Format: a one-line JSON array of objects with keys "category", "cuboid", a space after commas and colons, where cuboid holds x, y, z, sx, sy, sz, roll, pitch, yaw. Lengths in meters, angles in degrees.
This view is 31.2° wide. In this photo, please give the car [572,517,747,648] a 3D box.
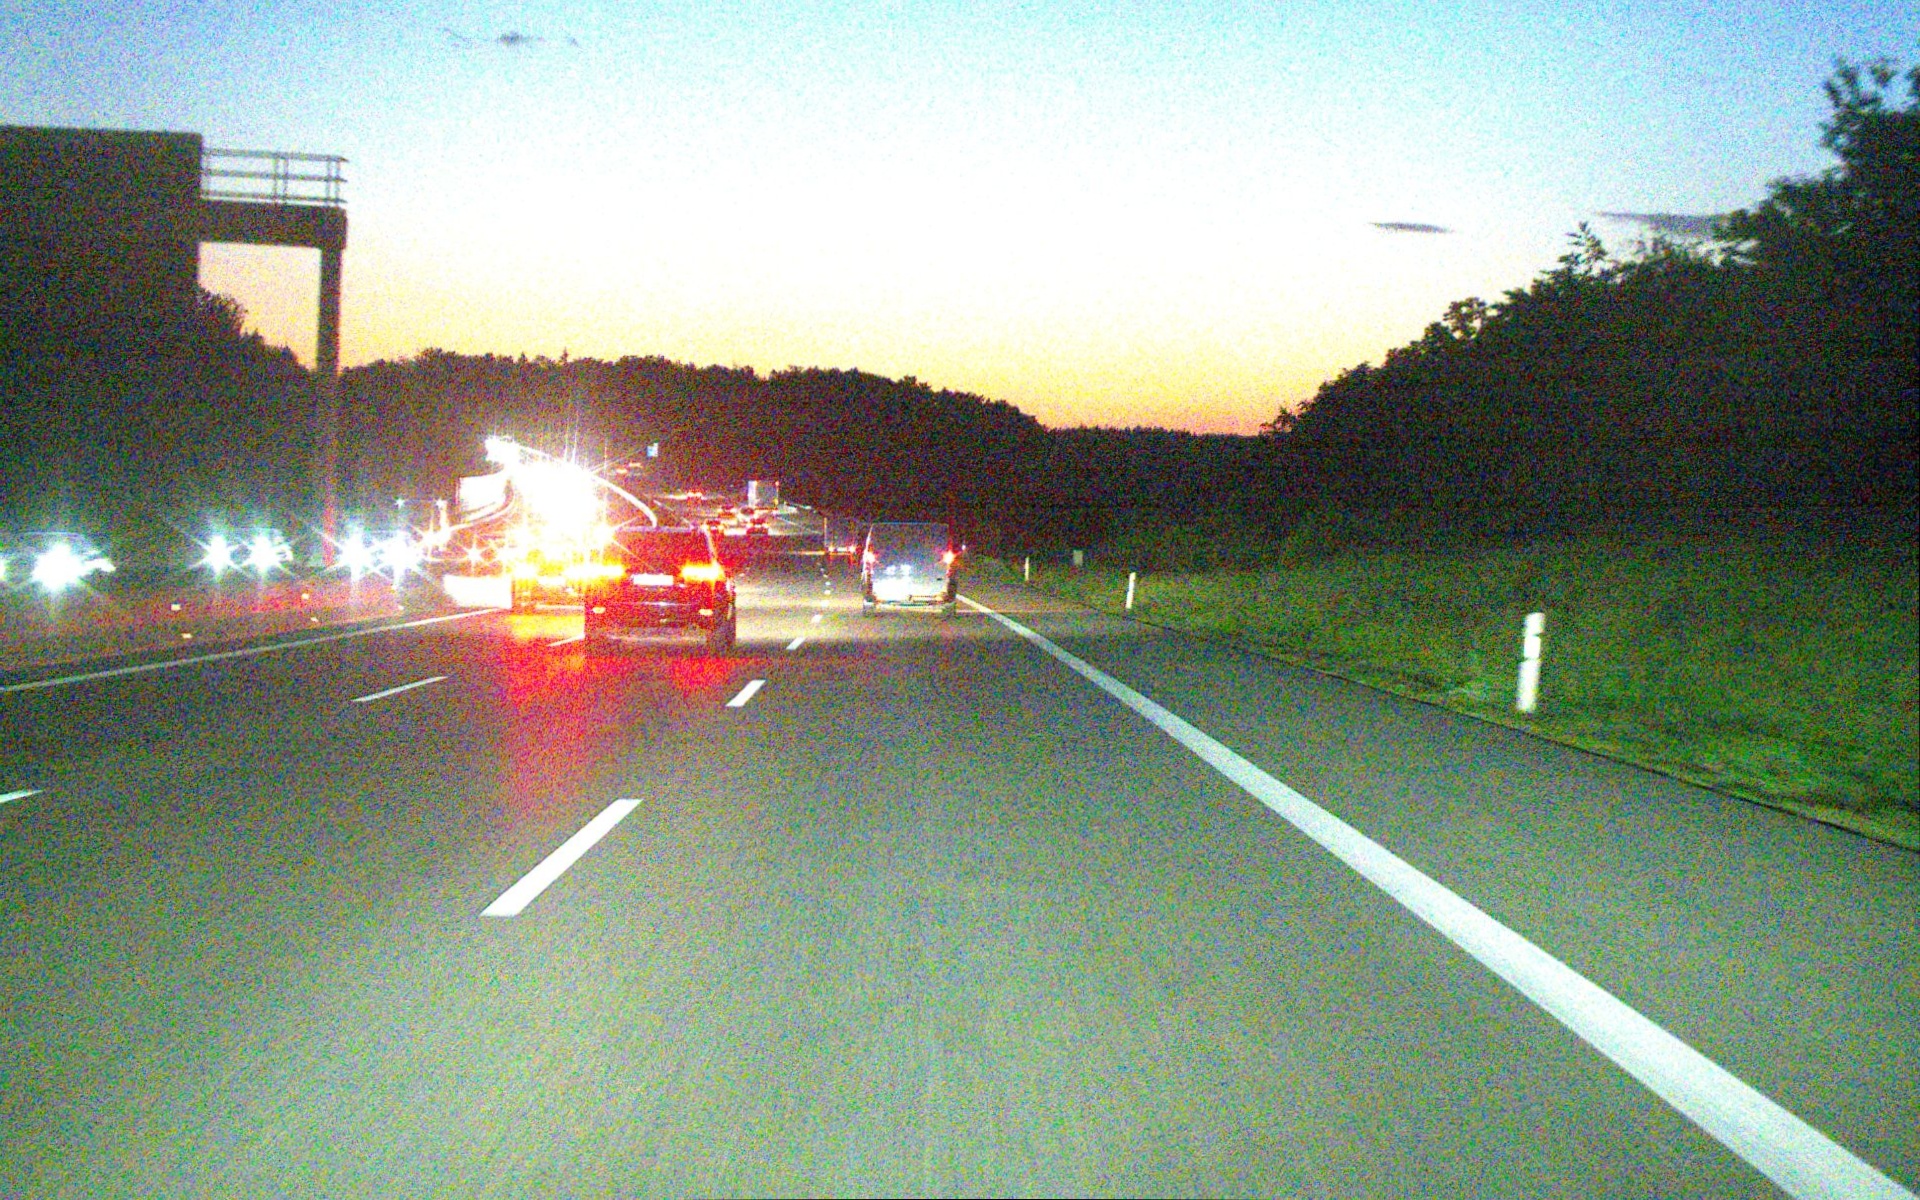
[{"category": "car", "cuboid": [-4.140, -0.273, 48.235, 1.993, 1.715, 5.943, 0, 1, 0]}]

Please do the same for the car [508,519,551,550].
[{"category": "car", "cuboid": [-27.058, -4.104, 216.152, 2.145, 1.879, 5.425, 1, 1, -2]}]

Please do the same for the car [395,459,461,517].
[{"category": "car", "cuboid": [-28.294, -5.930, 183.180, 2.458, 2.926, 8.334, 1, 1, -2]}]

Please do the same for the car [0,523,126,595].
[{"category": "car", "cuboid": [-19.895, -0.928, 75.605, 1.993, 1.504, 5.203, 1, 1, -2]}]

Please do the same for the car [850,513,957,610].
[{"category": "car", "cuboid": [-1.218, -0.847, 73.191, 2.196, 1.948, 4.764, 0, 2, -1]}]

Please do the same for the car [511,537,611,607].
[{"category": "car", "cuboid": [-8.478, -0.612, 73.358, 1.549, 1.426, 5.515, 0, 1, -1]}]

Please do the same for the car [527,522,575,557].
[{"category": "car", "cuboid": [-21.089, -3.133, 177.438, 1.993, 1.728, 4.659, 1, 1, -1]}]

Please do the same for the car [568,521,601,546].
[{"category": "car", "cuboid": [-26.819, -4.766, 245.814, 1.993, 1.728, 4.660, 1, 1, -2]}]

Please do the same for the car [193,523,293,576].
[{"category": "car", "cuboid": [-21.406, -1.521, 102.866, 1.993, 1.504, 5.185, 1, 1, -1]}]
